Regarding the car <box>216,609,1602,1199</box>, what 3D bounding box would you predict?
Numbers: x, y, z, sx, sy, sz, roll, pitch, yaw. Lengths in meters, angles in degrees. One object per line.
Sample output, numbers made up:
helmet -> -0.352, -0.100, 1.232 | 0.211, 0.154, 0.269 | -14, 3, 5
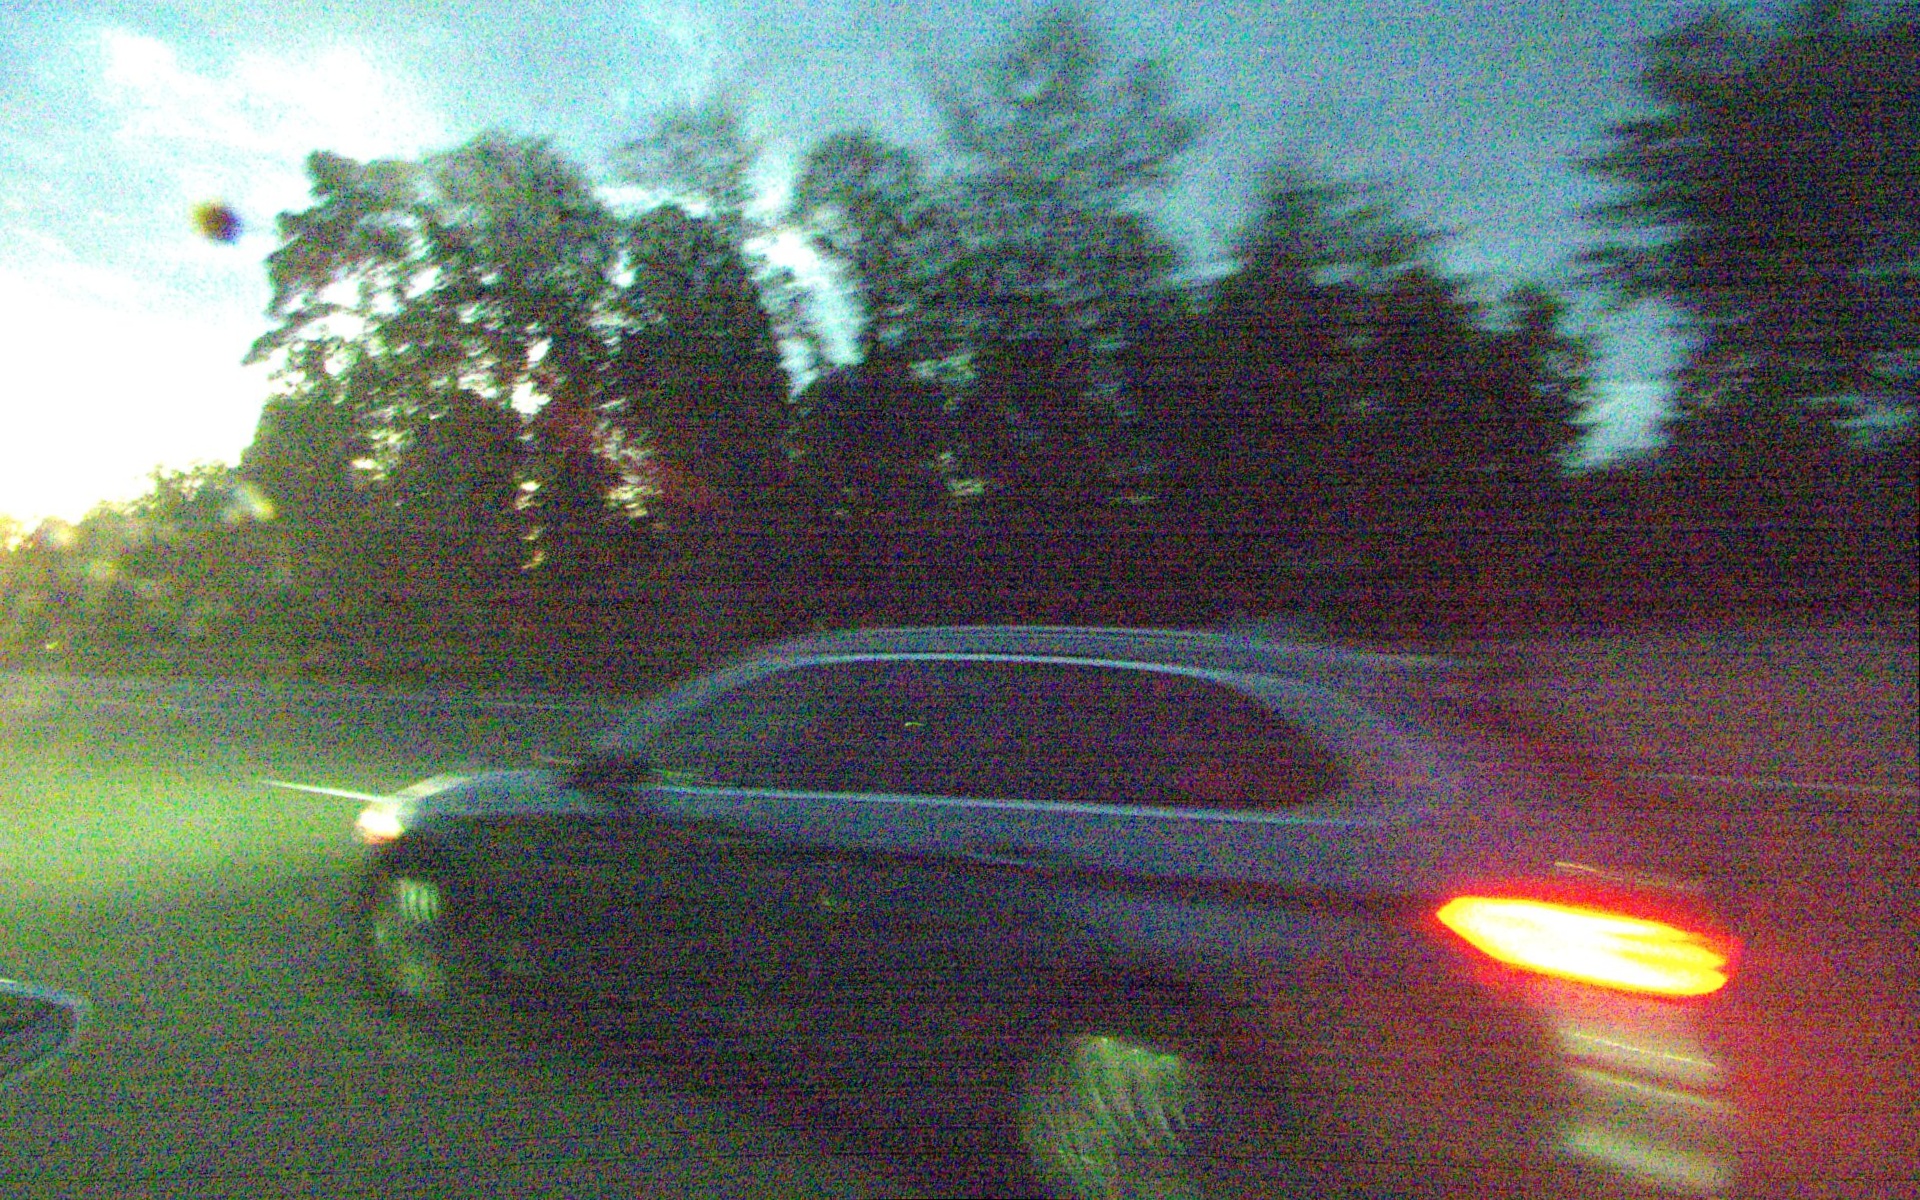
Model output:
car -> -0.609, 0.844, 3.901 | 5.154, 1.557, 1.906 | 0, -1, 32
